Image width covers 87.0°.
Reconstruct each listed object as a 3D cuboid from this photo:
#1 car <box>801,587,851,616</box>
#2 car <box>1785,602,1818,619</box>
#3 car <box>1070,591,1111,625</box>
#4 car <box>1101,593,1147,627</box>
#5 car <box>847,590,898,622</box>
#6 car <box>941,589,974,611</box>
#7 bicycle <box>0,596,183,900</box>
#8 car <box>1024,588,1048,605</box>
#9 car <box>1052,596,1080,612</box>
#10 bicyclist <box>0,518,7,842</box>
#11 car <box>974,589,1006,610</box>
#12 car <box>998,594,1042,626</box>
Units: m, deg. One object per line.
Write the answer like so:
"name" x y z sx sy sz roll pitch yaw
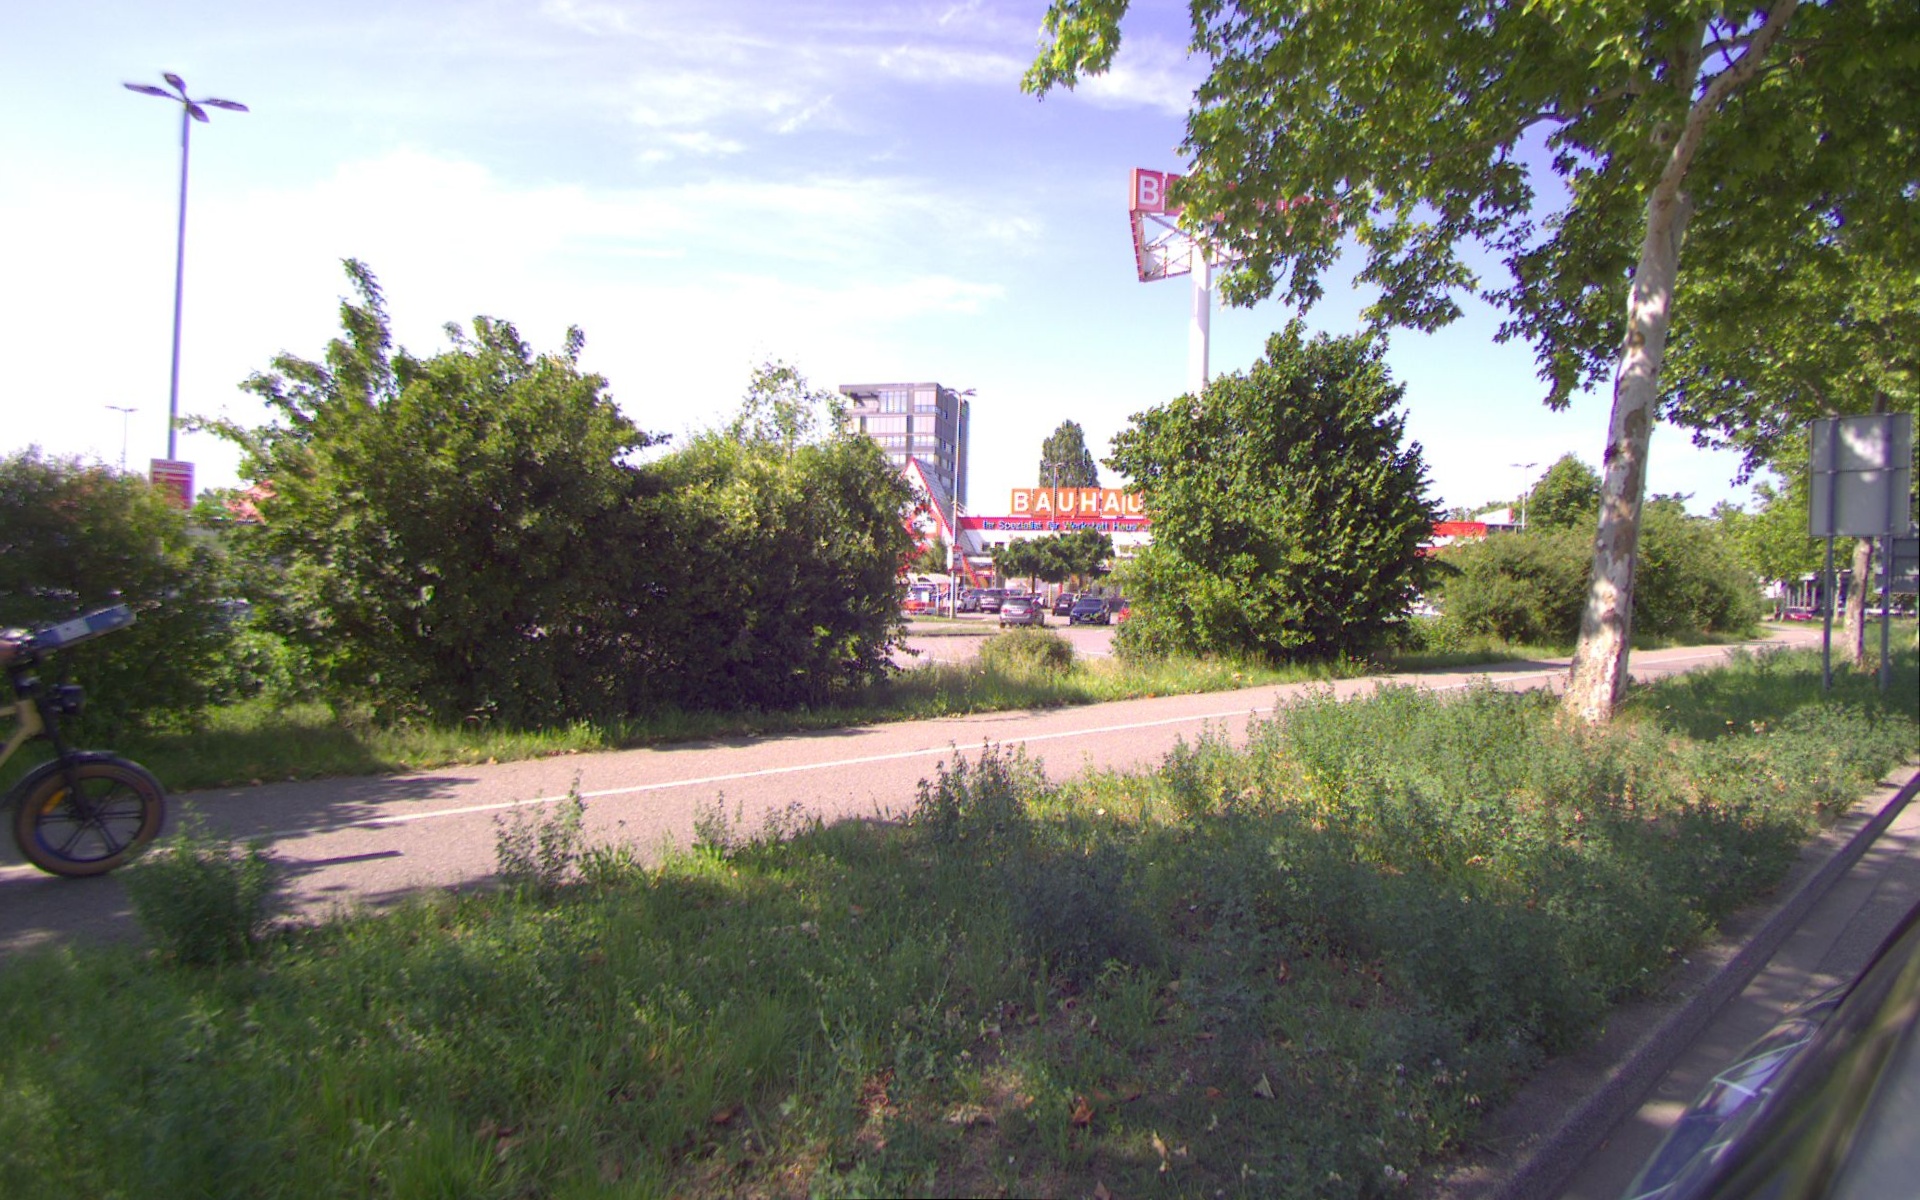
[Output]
"car" -7.711 0.062 58.543 1.745 1.625 3.732 0 0 12
"car" 82.068 1.004 98.735 1.632 1.621 3.572 0 0 25
"car" 7.156 0.415 55.005 1.606 1.648 4.737 3 0 14
"car" 8.018 0.468 49.241 1.970 1.527 3.985 1 1 13
"car" -4.393 0.270 51.259 1.655 1.565 3.778 0 0 10
"car" -0.121 -0.009 68.338 1.545 1.397 3.606 0 0 12
"bicycle" -4.691 0.643 4.400 2.059 1.315 0.724 0 0 -40
"car" 6.419 -0.276 85.377 1.545 1.397 3.606 0 0 12
"car" 7.024 0.258 66.885 1.495 1.073 3.175 -1 0 12
"bicyclist" -4.796 0.376 4.335 0.992 1.496 0.705 0 0 -40
"car" 2.060 -0.033 68.190 1.545 1.397 3.606 0 0 12
"car" 2.998 0.460 49.720 1.752 1.505 3.778 0 0 10
